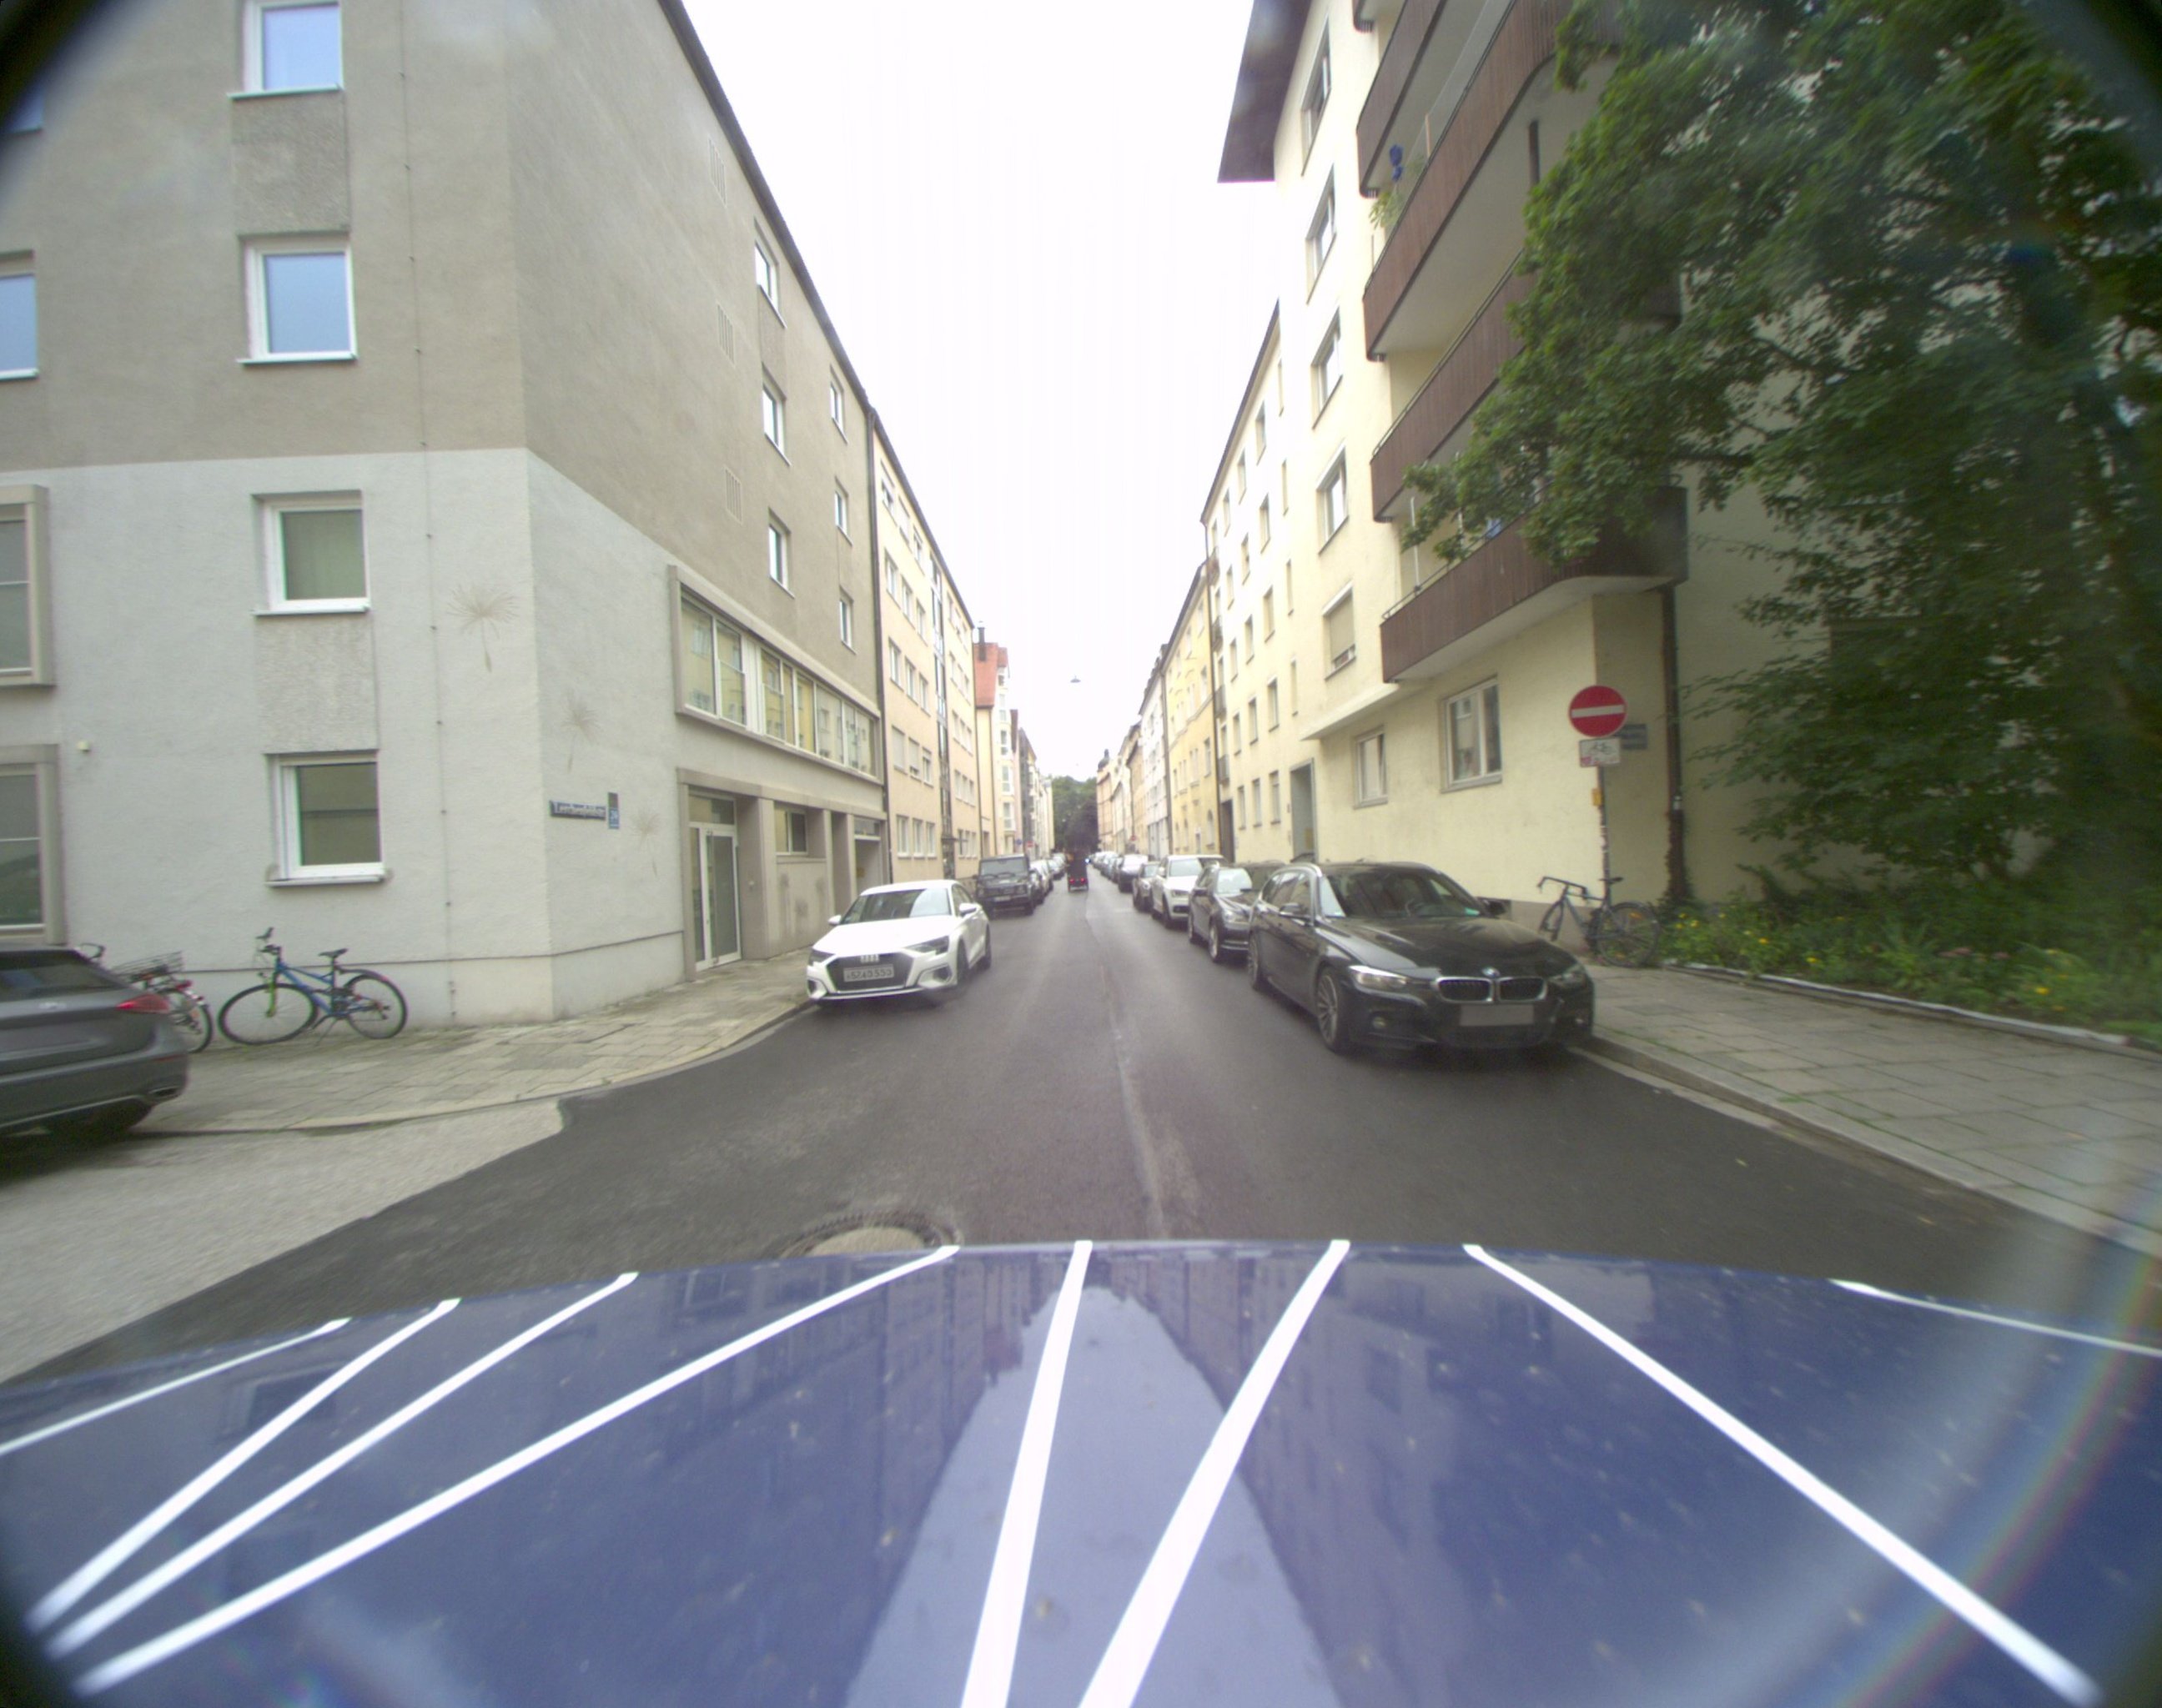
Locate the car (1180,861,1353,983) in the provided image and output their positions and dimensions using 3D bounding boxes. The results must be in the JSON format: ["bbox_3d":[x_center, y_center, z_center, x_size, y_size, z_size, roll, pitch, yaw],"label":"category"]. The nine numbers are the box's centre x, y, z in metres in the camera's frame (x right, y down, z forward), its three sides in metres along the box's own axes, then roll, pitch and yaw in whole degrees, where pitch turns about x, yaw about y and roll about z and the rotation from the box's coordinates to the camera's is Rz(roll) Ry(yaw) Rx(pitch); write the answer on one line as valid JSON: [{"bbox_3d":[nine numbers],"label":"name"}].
[{"bbox_3d":[2.715,0.908,12.169,1.770,1.474,4.424,-2,0,2],"label":"car"}]

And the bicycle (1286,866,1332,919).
[{"bbox_3d":[5.405,0.895,18.135,0.582,1.155,1.789,-1,1,1],"label":"bicycle"}]

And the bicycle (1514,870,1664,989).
[{"bbox_3d":[5.663,0.787,8.602,0.536,1.155,1.789,-1,1,1],"label":"bicycle"}]

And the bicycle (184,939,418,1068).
[{"bbox_3d":[-7.835,1.487,7.666,1.801,1.109,0.465,-3,1,0],"label":"bicycle"}]

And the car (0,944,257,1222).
[{"bbox_3d":[-8.001,1.398,4.371,4.215,1.391,2.000,-2,-2,-2],"label":"car"}]

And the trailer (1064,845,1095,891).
[{"bbox_3d":[-0.059,0.633,37.246,1.358,2.104,3.317,-3,1,1],"label":"trailer"}]

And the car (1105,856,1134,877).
[{"bbox_3d":[2.816,0.889,56.010,1.816,1.378,4.250,-1,1,-1],"label":"car"}]

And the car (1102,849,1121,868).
[{"bbox_3d":[2.985,0.406,75.007,1.728,1.779,4.248,-1,1,2],"label":"car"}]

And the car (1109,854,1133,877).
[{"bbox_3d":[2.688,0.770,51.377,1.566,1.452,3.404,-2,1,2],"label":"car"}]

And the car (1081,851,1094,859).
[{"bbox_3d":[1.332,0.233,158.072,1.800,1.501,3.996,-1,0,-11],"label":"car"}]

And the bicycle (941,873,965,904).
[{"bbox_3d":[-4.986,1.318,29.666,0.656,1.099,1.760,1,1,0],"label":"bicycle"}]

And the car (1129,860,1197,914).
[{"bbox_3d":[2.425,0.938,23.244,1.656,1.427,3.802,-2,1,1],"label":"car"}]

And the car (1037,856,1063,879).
[{"bbox_3d":[-2.319,0.960,56.604,1.721,1.463,4.530,-4,1,-2],"label":"car"}]

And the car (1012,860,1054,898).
[{"bbox_3d":[-2.192,1.124,35.765,1.716,1.477,4.243,-4,1,-2],"label":"car"}]

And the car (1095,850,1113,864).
[{"bbox_3d":[2.720,0.302,90.210,1.786,1.596,4.307,-1,0,-3],"label":"car"}]

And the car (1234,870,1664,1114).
[{"bbox_3d":[2.750,0.918,6.960,1.860,1.400,4.383,-1,0,1],"label":"car"}]

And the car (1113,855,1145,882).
[{"bbox_3d":[2.855,0.821,45.398,1.567,1.452,3.763,-2,1,-1],"label":"car"}]

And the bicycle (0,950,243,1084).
[{"bbox_3d":[-9.708,1.614,7.623,1.801,1.109,0.650,-3,1,0],"label":"bicycle"}]

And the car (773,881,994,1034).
[{"bbox_3d":[-2.357,1.190,10.190,1.823,1.400,3.952,-4,0,0],"label":"car"}]

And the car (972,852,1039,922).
[{"bbox_3d":[-2.425,1.017,25.283,1.755,1.964,4.342,-5,0,-2],"label":"car"}]

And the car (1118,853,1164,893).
[{"bbox_3d":[2.723,0.805,35.105,1.883,1.650,4.415,-2,1,2],"label":"car"}]

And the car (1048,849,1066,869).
[{"bbox_3d":[-2.706,0.523,86.348,1.878,2.002,5.105,-4,1,-1],"label":"car"}]

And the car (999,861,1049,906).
[{"bbox_3d":[-2.213,1.134,30.484,1.716,1.477,4.243,-4,1,-2],"label":"car"}]

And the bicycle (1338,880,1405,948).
[{"bbox_3d":[5.639,1.133,14.842,0.647,1.155,1.789,-1,1,1],"label":"bicycle"}]

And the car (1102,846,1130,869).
[{"bbox_3d":[2.788,0.274,61.441,1.867,1.760,4.734,-1,1,-1],"label":"car"}]

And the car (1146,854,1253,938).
[{"bbox_3d":[2.639,0.870,17.899,1.770,1.665,4.366,-2,1,0],"label":"car"}]
